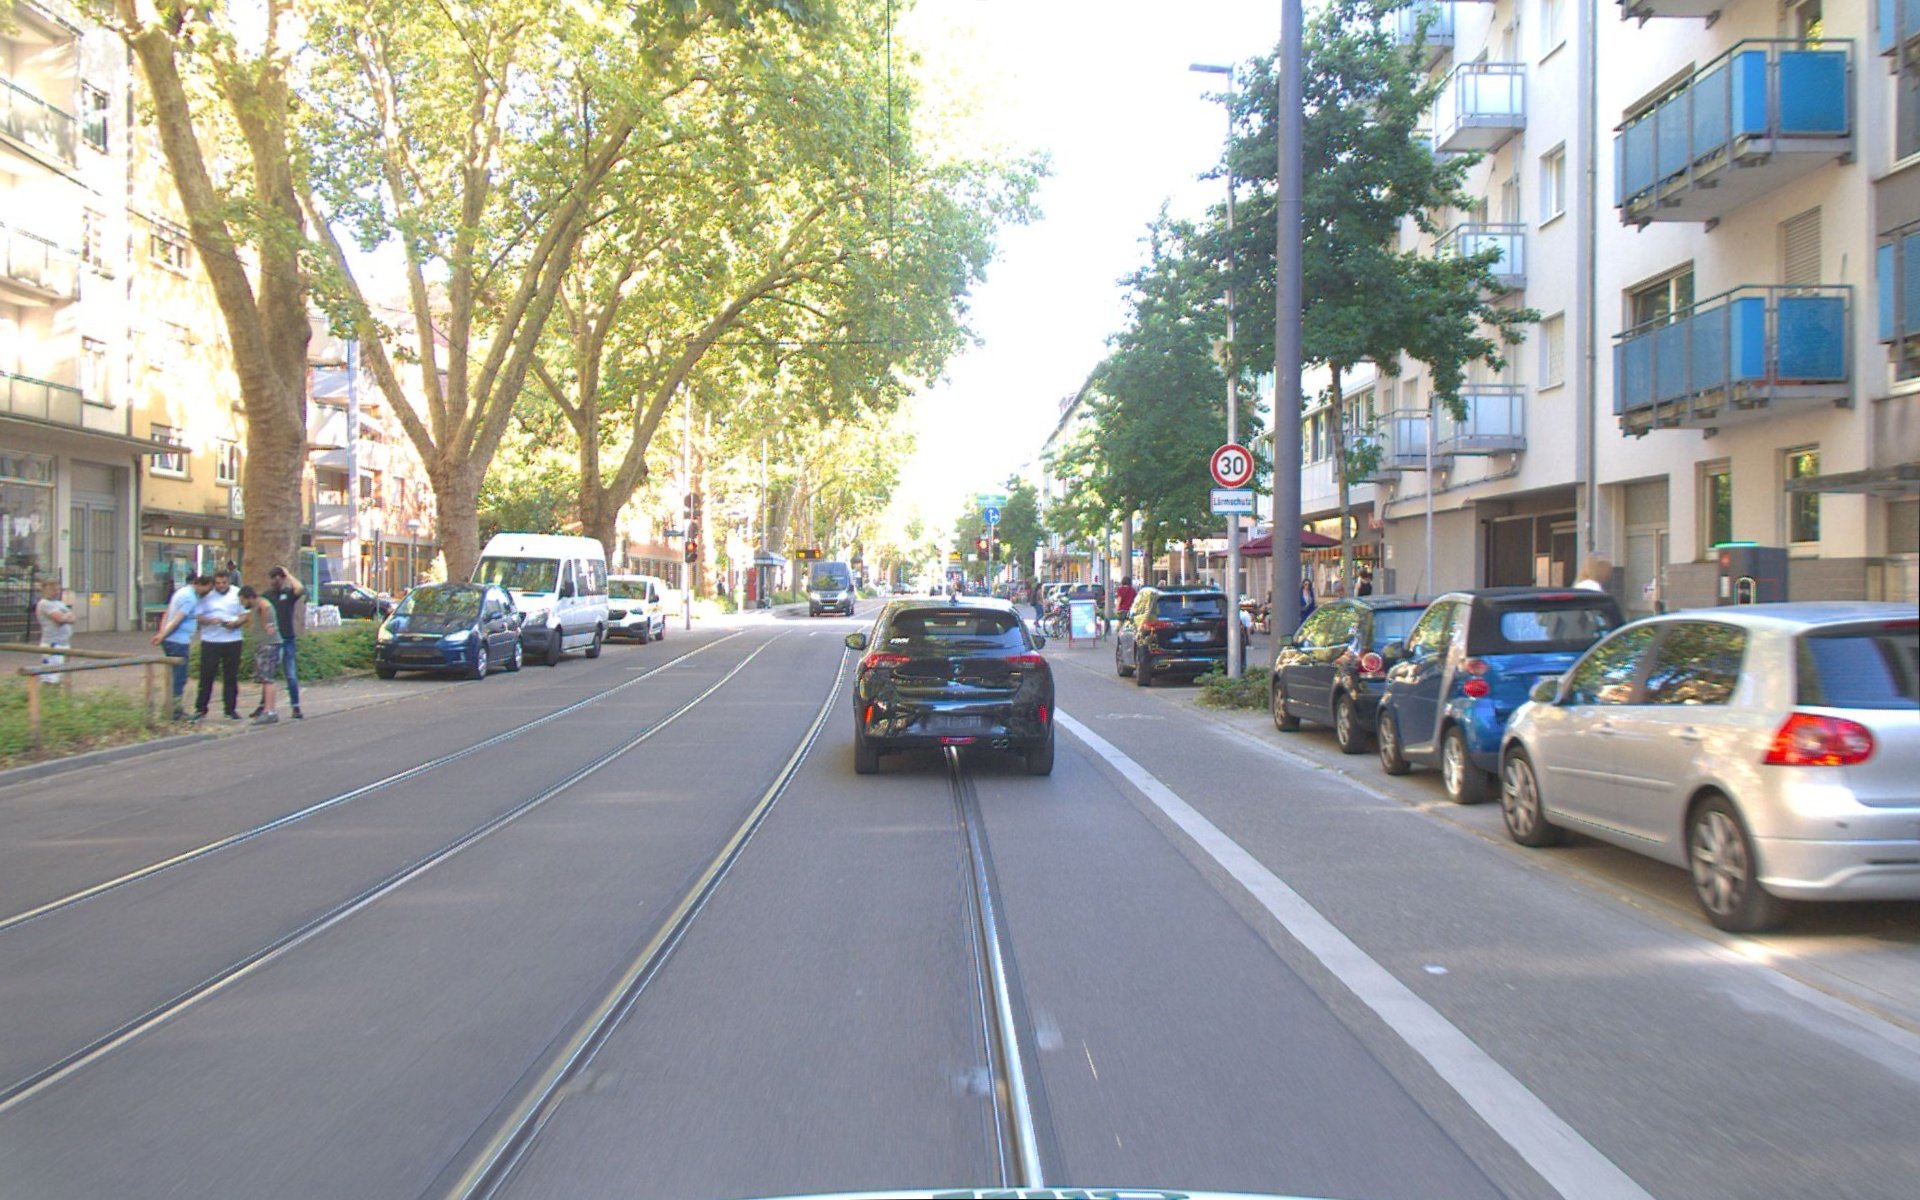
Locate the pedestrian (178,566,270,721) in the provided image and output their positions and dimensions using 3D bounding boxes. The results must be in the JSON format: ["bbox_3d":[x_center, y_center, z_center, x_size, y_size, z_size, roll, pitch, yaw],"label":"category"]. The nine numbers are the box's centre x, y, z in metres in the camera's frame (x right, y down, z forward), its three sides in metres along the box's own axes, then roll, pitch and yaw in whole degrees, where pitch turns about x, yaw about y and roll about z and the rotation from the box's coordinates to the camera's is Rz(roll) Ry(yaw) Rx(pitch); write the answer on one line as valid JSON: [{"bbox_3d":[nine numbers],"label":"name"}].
[{"bbox_3d":[-8.653,0.495,19.447,0.756,1.765,0.710,1,0,40],"label":"pedestrian"}]

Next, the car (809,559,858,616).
[{"bbox_3d":[-6.386,-0.616,83.831,2.071,2.786,6.113,-1,0,-1],"label":"car"}]

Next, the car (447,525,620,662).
[{"bbox_3d":[-8.894,-0.134,35.093,2.065,2.622,6.023,1,0,0],"label":"car"}]

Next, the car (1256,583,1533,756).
[{"bbox_3d":[4.336,0.614,17.106,1.590,1.507,3.887,-2,1,-4],"label":"car"}]

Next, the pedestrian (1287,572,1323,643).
[{"bbox_3d":[8.434,0.181,40.411,0.584,1.707,0.934,-2,0,-3],"label":"pedestrian"}]

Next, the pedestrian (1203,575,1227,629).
[{"bbox_3d":[8.683,0.076,56.360,0.578,1.815,0.995,1,0,-3],"label":"pedestrian"}]

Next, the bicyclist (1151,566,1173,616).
[{"bbox_3d":[7.211,-0.316,59.171,0.663,1.747,0.965,1,0,1],"label":"bicyclist"}]

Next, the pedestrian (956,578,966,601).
[{"bbox_3d":[0.038,-0.731,113.865,0.618,1.603,0.870,2,1,-1],"label":"pedestrian"}]

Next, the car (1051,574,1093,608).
[{"bbox_3d":[5.666,-0.451,84.267,1.763,1.634,4.414,1,0,-1],"label":"car"}]

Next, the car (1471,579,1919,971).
[{"bbox_3d":[4.362,0.702,8.990,1.750,1.563,4.127,-2,1,-2],"label":"car"}]

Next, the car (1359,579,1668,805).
[{"bbox_3d":[4.314,0.640,13.275,1.415,1.564,2.880,-2,1,-2],"label":"car"}]

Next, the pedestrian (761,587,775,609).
[{"bbox_3d":[-10.157,-0.107,87.495,0.691,1.189,0.659,-1,0,-4],"label":"pedestrian"}]

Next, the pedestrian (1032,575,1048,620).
[{"bbox_3d":[2.886,-0.092,59.531,0.540,1.589,0.645,1,-1,3],"label":"pedestrian"}]

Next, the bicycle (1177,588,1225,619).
[{"bbox_3d":[9.910,0.144,68.073,1.876,1.228,0.510,0,1,-5],"label":"bicycle"}]

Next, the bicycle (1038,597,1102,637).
[{"bbox_3d":[3.185,0.491,47.803,1.782,1.119,0.496,1,0,-10],"label":"bicycle"}]

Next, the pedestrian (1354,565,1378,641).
[{"bbox_3d":[9.840,0.082,40.091,0.423,1.827,0.489,1,0,-2],"label":"pedestrian"}]

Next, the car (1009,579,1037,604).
[{"bbox_3d":[5.098,-0.664,134.312,1.953,1.986,3.999,1,0,-2],"label":"car"}]

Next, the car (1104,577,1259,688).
[{"bbox_3d":[3.633,0.499,27.859,1.724,1.615,4.326,-3,0,-3],"label":"car"}]

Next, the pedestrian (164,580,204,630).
[{"bbox_3d":[-20.191,0.130,43.050,0.659,1.294,0.644,1,0,22],"label":"pedestrian"}]

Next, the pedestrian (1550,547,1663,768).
[{"bbox_3d":[5.748,0.501,14.721,0.468,1.883,0.662,-7,1,-13],"label":"pedestrian"}]

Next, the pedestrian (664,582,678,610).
[{"bbox_3d":[-17.933,-0.240,102.538,0.720,1.701,0.860,1,0,-1],"label":"pedestrian"}]

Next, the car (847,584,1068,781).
[{"bbox_3d":[-0.107,0.649,14.867,1.725,1.534,3.681,1,0,-3],"label":"car"}]

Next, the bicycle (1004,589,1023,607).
[{"bbox_3d":[3.440,-0.144,106.706,0.844,1.156,2.392,1,0,-7],"label":"bicycle"}]

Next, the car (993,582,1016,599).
[{"bbox_3d":[4.146,-0.866,153.301,1.953,1.512,3.999,1,0,-1],"label":"car"}]

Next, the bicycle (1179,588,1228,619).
[{"bbox_3d":[9.942,0.148,67.540,1.876,1.228,0.510,-1,1,-5],"label":"bicycle"}]

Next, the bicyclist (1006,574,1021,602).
[{"bbox_3d":[3.453,-0.765,106.635,0.844,1.790,1.052,1,0,-7],"label":"bicyclist"}]

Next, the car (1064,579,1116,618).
[{"bbox_3d":[5.990,-0.063,76.805,1.953,1.643,4.444,3,0,-1],"label":"car"}]

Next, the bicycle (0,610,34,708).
[{"bbox_3d":[-11.627,0.663,19.232,1.809,1.099,0.568,1,0,26],"label":"bicycle"}]

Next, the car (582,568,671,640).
[{"bbox_3d":[-9.157,0.102,45.703,1.728,1.883,4.316,1,0,-3],"label":"car"}]

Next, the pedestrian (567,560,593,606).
[{"bbox_3d":[-15.893,-0.707,69.167,0.906,1.867,0.919,1,2,-5],"label":"pedestrian"}]

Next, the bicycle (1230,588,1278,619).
[{"bbox_3d":[12.034,0.145,67.754,1.876,1.228,0.510,0,1,-5],"label":"bicycle"}]

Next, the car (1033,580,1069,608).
[{"bbox_3d":[5.473,-0.337,99.914,1.819,1.644,4.397,1,0,-1],"label":"car"}]

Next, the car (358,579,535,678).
[{"bbox_3d":[-8.922,0.465,29.105,1.878,1.589,4.282,1,0,-2],"label":"car"}]

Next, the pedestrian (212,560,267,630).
[{"bbox_3d":[-20.106,-0.141,46.174,1.085,1.897,1.058,1,0,-4],"label":"pedestrian"}]

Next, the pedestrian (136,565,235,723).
[{"bbox_3d":[-8.885,0.491,19.006,0.752,1.765,0.717,1,0,2],"label":"pedestrian"}]

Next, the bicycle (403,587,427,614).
[{"bbox_3d":[-23.698,-0.003,71.908,0.530,1.103,1.638,1,2,-2],"label":"bicycle"}]

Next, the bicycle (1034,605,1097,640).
[{"bbox_3d":[3.094,0.662,48.602,1.779,1.011,0.481,1,0,-4],"label":"bicycle"}]

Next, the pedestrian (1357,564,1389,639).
[{"bbox_3d":[10.319,0.039,41.328,0.517,1.837,0.628,1,0,42],"label":"pedestrian"}]

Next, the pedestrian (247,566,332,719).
[{"bbox_3d":[-8.124,0.502,20.075,0.697,1.808,0.770,1,0,-2],"label":"pedestrian"}]

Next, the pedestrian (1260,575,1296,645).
[{"bbox_3d":[7.771,0.226,40.403,0.629,1.666,0.869,-2,0,-3],"label":"pedestrian"}]

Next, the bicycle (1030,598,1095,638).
[{"bbox_3d":[2.879,0.495,46.524,1.779,1.119,0.525,0,0,-2],"label":"bicycle"}]

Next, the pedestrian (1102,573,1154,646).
[{"bbox_3d":[4.182,0.225,41.277,1.028,1.789,0.874,1,0,-17],"label":"pedestrian"}]

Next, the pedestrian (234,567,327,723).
[{"bbox_3d":[-7.921,0.507,19.286,0.701,1.765,0.766,1,0,43],"label":"pedestrian"}]

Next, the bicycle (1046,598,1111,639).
[{"bbox_3d":[3.372,0.530,47.263,1.782,1.119,0.480,1,0,-10],"label":"bicycle"}]

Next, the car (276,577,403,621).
[{"bbox_3d":[-24.689,-0.037,65.964,4.349,1.481,1.996,3,0,-9],"label":"car"}]

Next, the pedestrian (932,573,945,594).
[{"bbox_3d":[-1.728,-1.327,132.801,0.736,1.739,0.761,1,0,34],"label":"pedestrian"}]

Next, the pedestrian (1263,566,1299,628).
[{"bbox_3d":[8.853,-0.092,45.604,0.666,1.688,0.811,1,0,-16],"label":"pedestrian"}]

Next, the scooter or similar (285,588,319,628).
[{"bbox_3d":[-19.794,0.251,49.772,0.629,1.187,0.675,1,0,25],"label":"scooter or similar"}]

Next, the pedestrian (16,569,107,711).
[{"bbox_3d":[-10.662,0.462,19.620,0.756,1.638,0.710,1,0,40],"label":"pedestrian"}]
